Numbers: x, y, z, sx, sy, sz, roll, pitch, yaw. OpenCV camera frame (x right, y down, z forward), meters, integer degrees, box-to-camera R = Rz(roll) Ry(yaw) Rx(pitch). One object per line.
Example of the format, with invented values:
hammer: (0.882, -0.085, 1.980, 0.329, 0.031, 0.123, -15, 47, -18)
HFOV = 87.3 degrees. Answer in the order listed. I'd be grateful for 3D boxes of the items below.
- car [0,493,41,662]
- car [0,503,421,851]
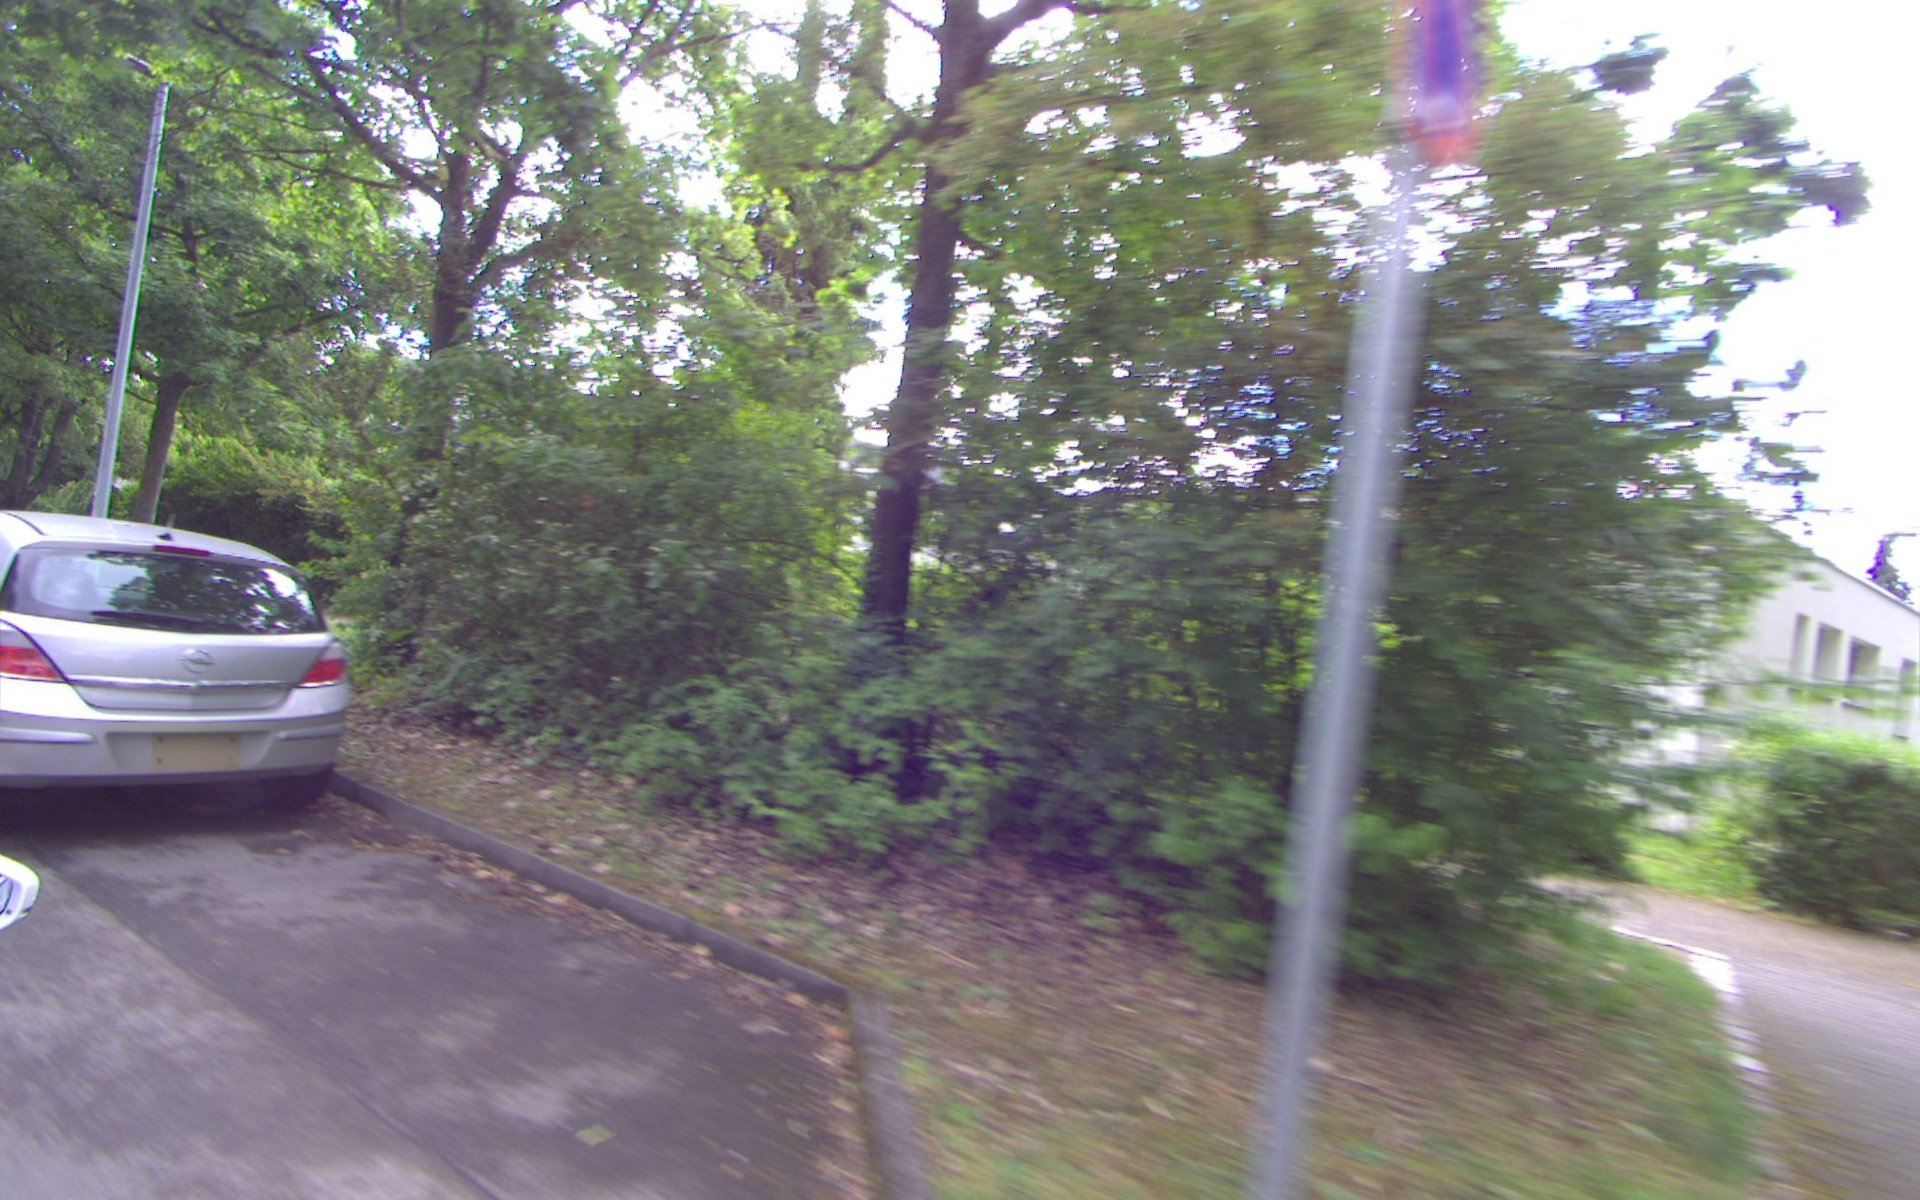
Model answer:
car: (-11.229, -0.524, 9.958, 5.092, 1.524, 1.888, 7, -1, 34)
car: (-5.157, 0.220, 5.931, 3.995, 1.427, 1.794, 7, -1, 35)
